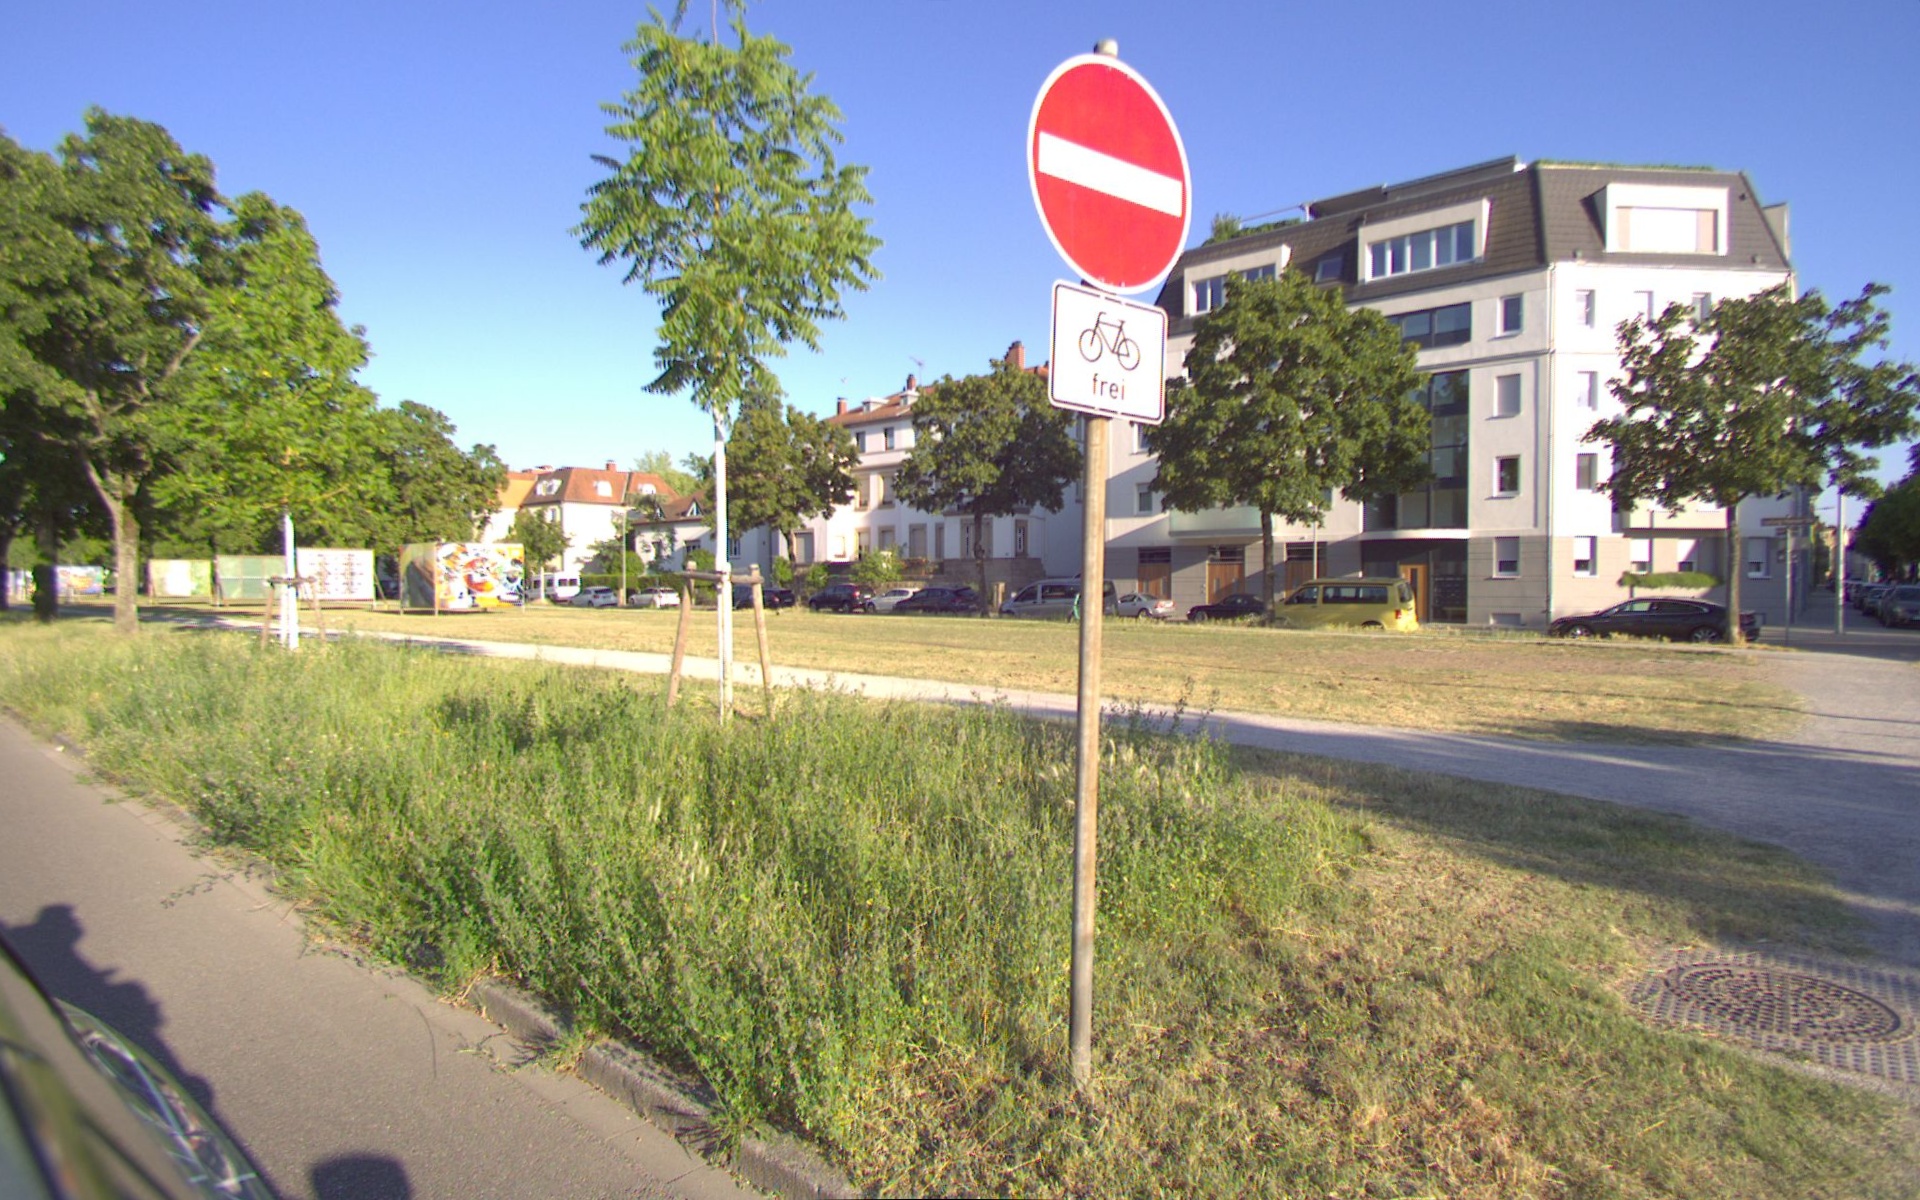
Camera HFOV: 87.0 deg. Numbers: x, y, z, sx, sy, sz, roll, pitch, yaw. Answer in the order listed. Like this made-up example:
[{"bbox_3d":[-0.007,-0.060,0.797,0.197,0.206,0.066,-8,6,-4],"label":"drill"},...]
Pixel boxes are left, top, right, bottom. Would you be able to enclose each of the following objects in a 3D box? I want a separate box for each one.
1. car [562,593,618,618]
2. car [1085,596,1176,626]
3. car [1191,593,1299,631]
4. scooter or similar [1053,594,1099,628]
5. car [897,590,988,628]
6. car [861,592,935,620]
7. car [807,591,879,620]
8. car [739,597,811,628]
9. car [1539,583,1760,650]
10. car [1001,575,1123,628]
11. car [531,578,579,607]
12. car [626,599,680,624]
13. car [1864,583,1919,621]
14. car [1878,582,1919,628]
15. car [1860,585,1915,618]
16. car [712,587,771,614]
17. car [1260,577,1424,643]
[{"bbox_3d":[-23.893,0.335,65.367,3.834,1.592,1.801,1,1,41],"label":"car"},{"bbox_3d":[7.585,0.466,45.179,3.725,1.249,1.606,1,0,37],"label":"car"},{"bbox_3d":[11.737,0.477,41.844,3.999,1.474,1.654,0,1,42],"label":"car"},{"bbox_3d":[4.006,0.365,34.983,1.648,1.124,0.447,0,1,42],"label":"scooter or similar"},{"bbox_3d":[-0.809,0.354,44.739,3.834,1.592,1.801,1,1,41],"label":"car"},{"bbox_3d":[-3.379,0.317,54.983,4.006,1.457,1.620,1,0,40],"label":"car"},{"bbox_3d":[-6.730,0.259,58.054,4.161,1.592,1.801,1,1,41],"label":"car"},{"bbox_3d":[-9.850,0.632,53.849,3.834,1.592,1.801,1,1,41],"label":"car"},{"bbox_3d":[18.801,0.382,27.762,4.838,1.681,1.764,1,1,42],"label":"car"},{"bbox_3d":[4.081,0.050,40.949,4.572,2.029,2.052,1,1,40],"label":"car"},{"bbox_3d":[-32.026,-0.570,79.929,4.132,2.230,1.971,1,1,44],"label":"car"},{"bbox_3d":[-21.512,0.780,70.890,3.966,1.592,1.801,1,1,41],"label":"car"},{"bbox_3d":[41.270,0.056,44.580,1.888,1.603,4.038,0,1,38],"label":"car"},{"bbox_3d":[35.037,0.166,36.989,1.888,1.603,4.038,0,1,38],"label":"car"},{"bbox_3d":[43.961,0.040,48.049,1.763,1.458,4.086,1,1,41],"label":"car"},{"bbox_3d":[-13.717,0.001,63.516,4.000,1.674,1.620,1,1,43],"label":"car"},{"bbox_3d":[12.498,0.282,33.283,4.691,2.029,2.006,1,1,40],"label":"car"}]
